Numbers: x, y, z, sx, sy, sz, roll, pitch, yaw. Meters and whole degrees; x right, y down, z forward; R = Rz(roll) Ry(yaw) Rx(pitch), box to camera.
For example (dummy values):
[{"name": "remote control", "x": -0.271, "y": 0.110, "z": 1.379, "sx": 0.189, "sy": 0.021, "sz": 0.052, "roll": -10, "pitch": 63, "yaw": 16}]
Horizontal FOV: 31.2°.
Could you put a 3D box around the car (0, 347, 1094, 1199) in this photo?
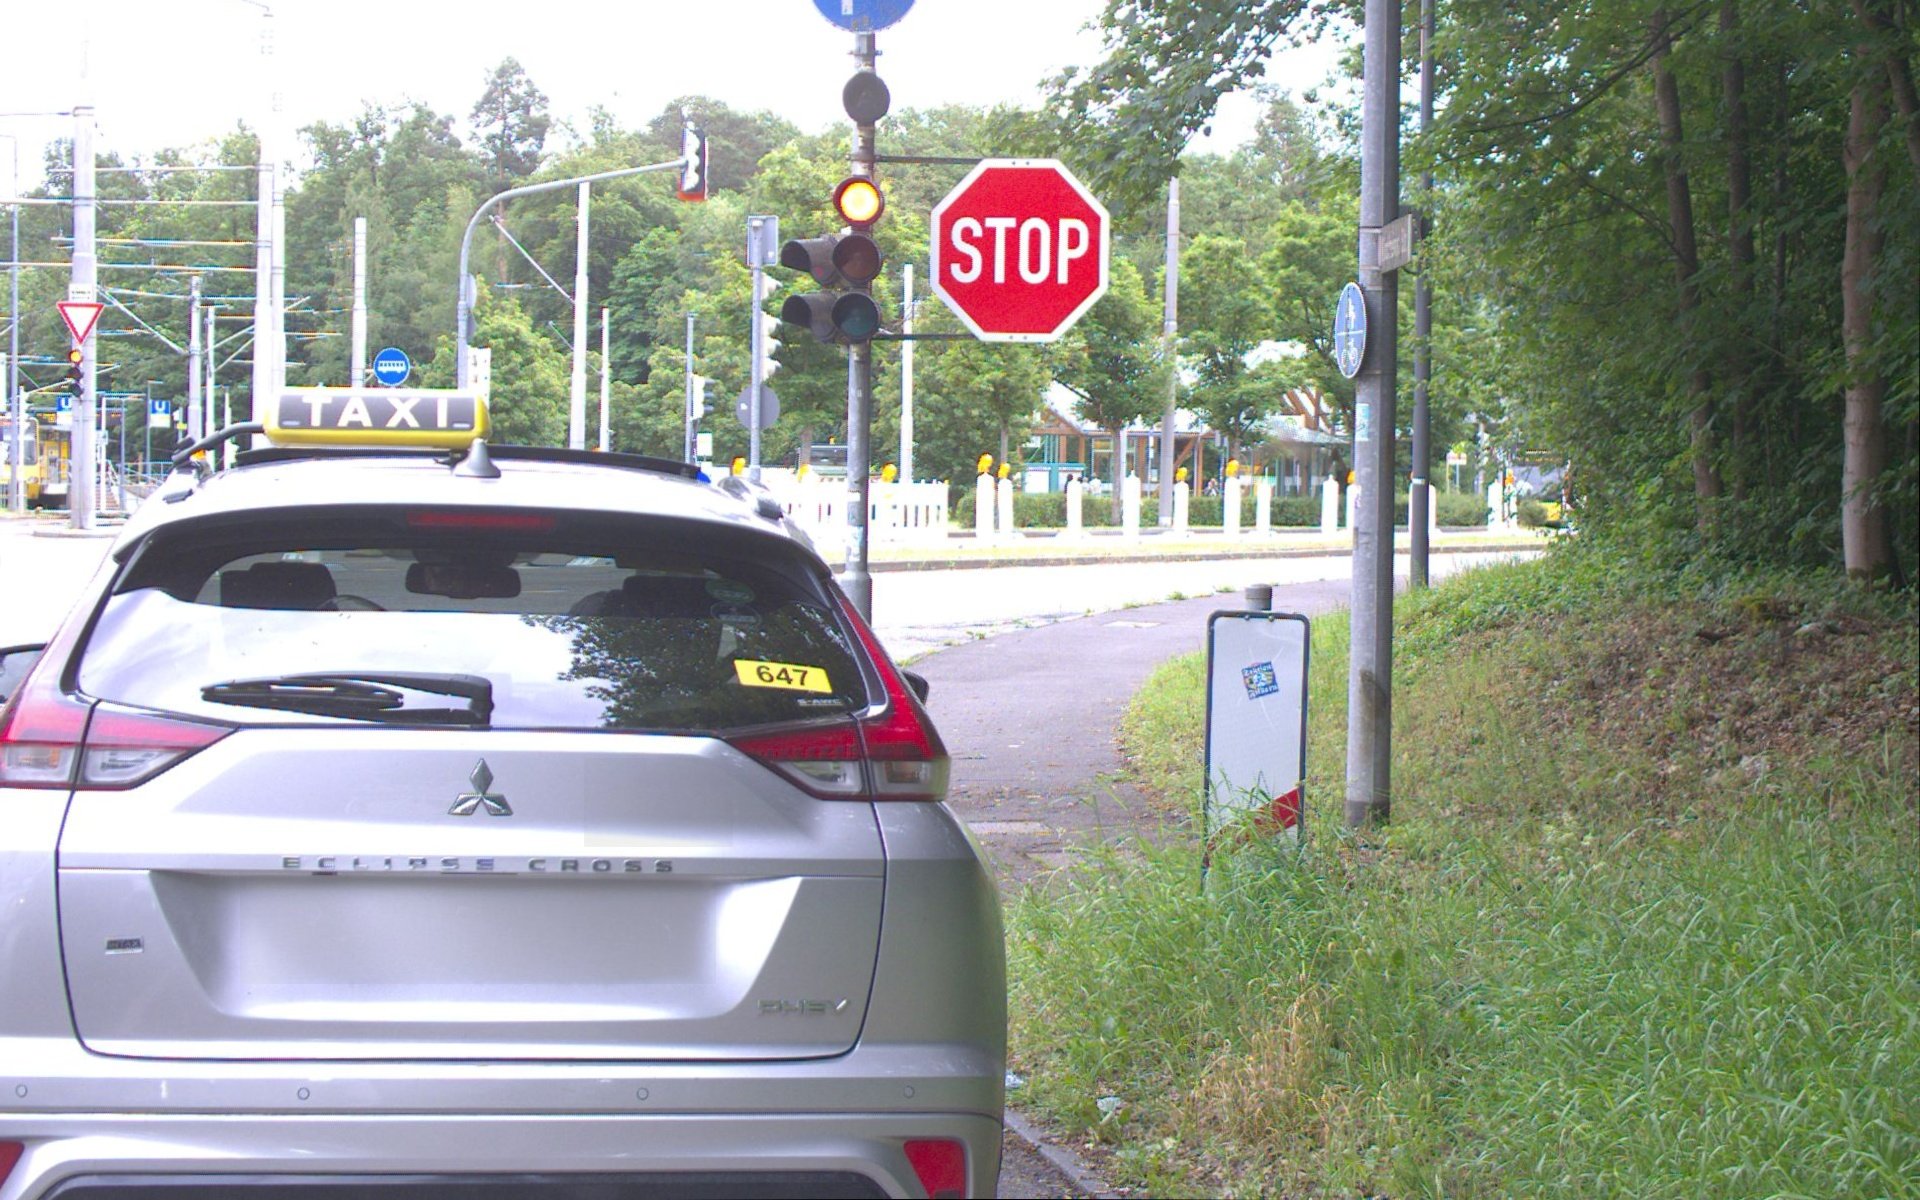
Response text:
[{"name": "car", "x": -1.004, "y": 0.473, "z": 6.824, "sx": 1.773, "sy": 1.742, "sz": 3.782, "roll": 2, "pitch": 2, "yaw": -9}]
